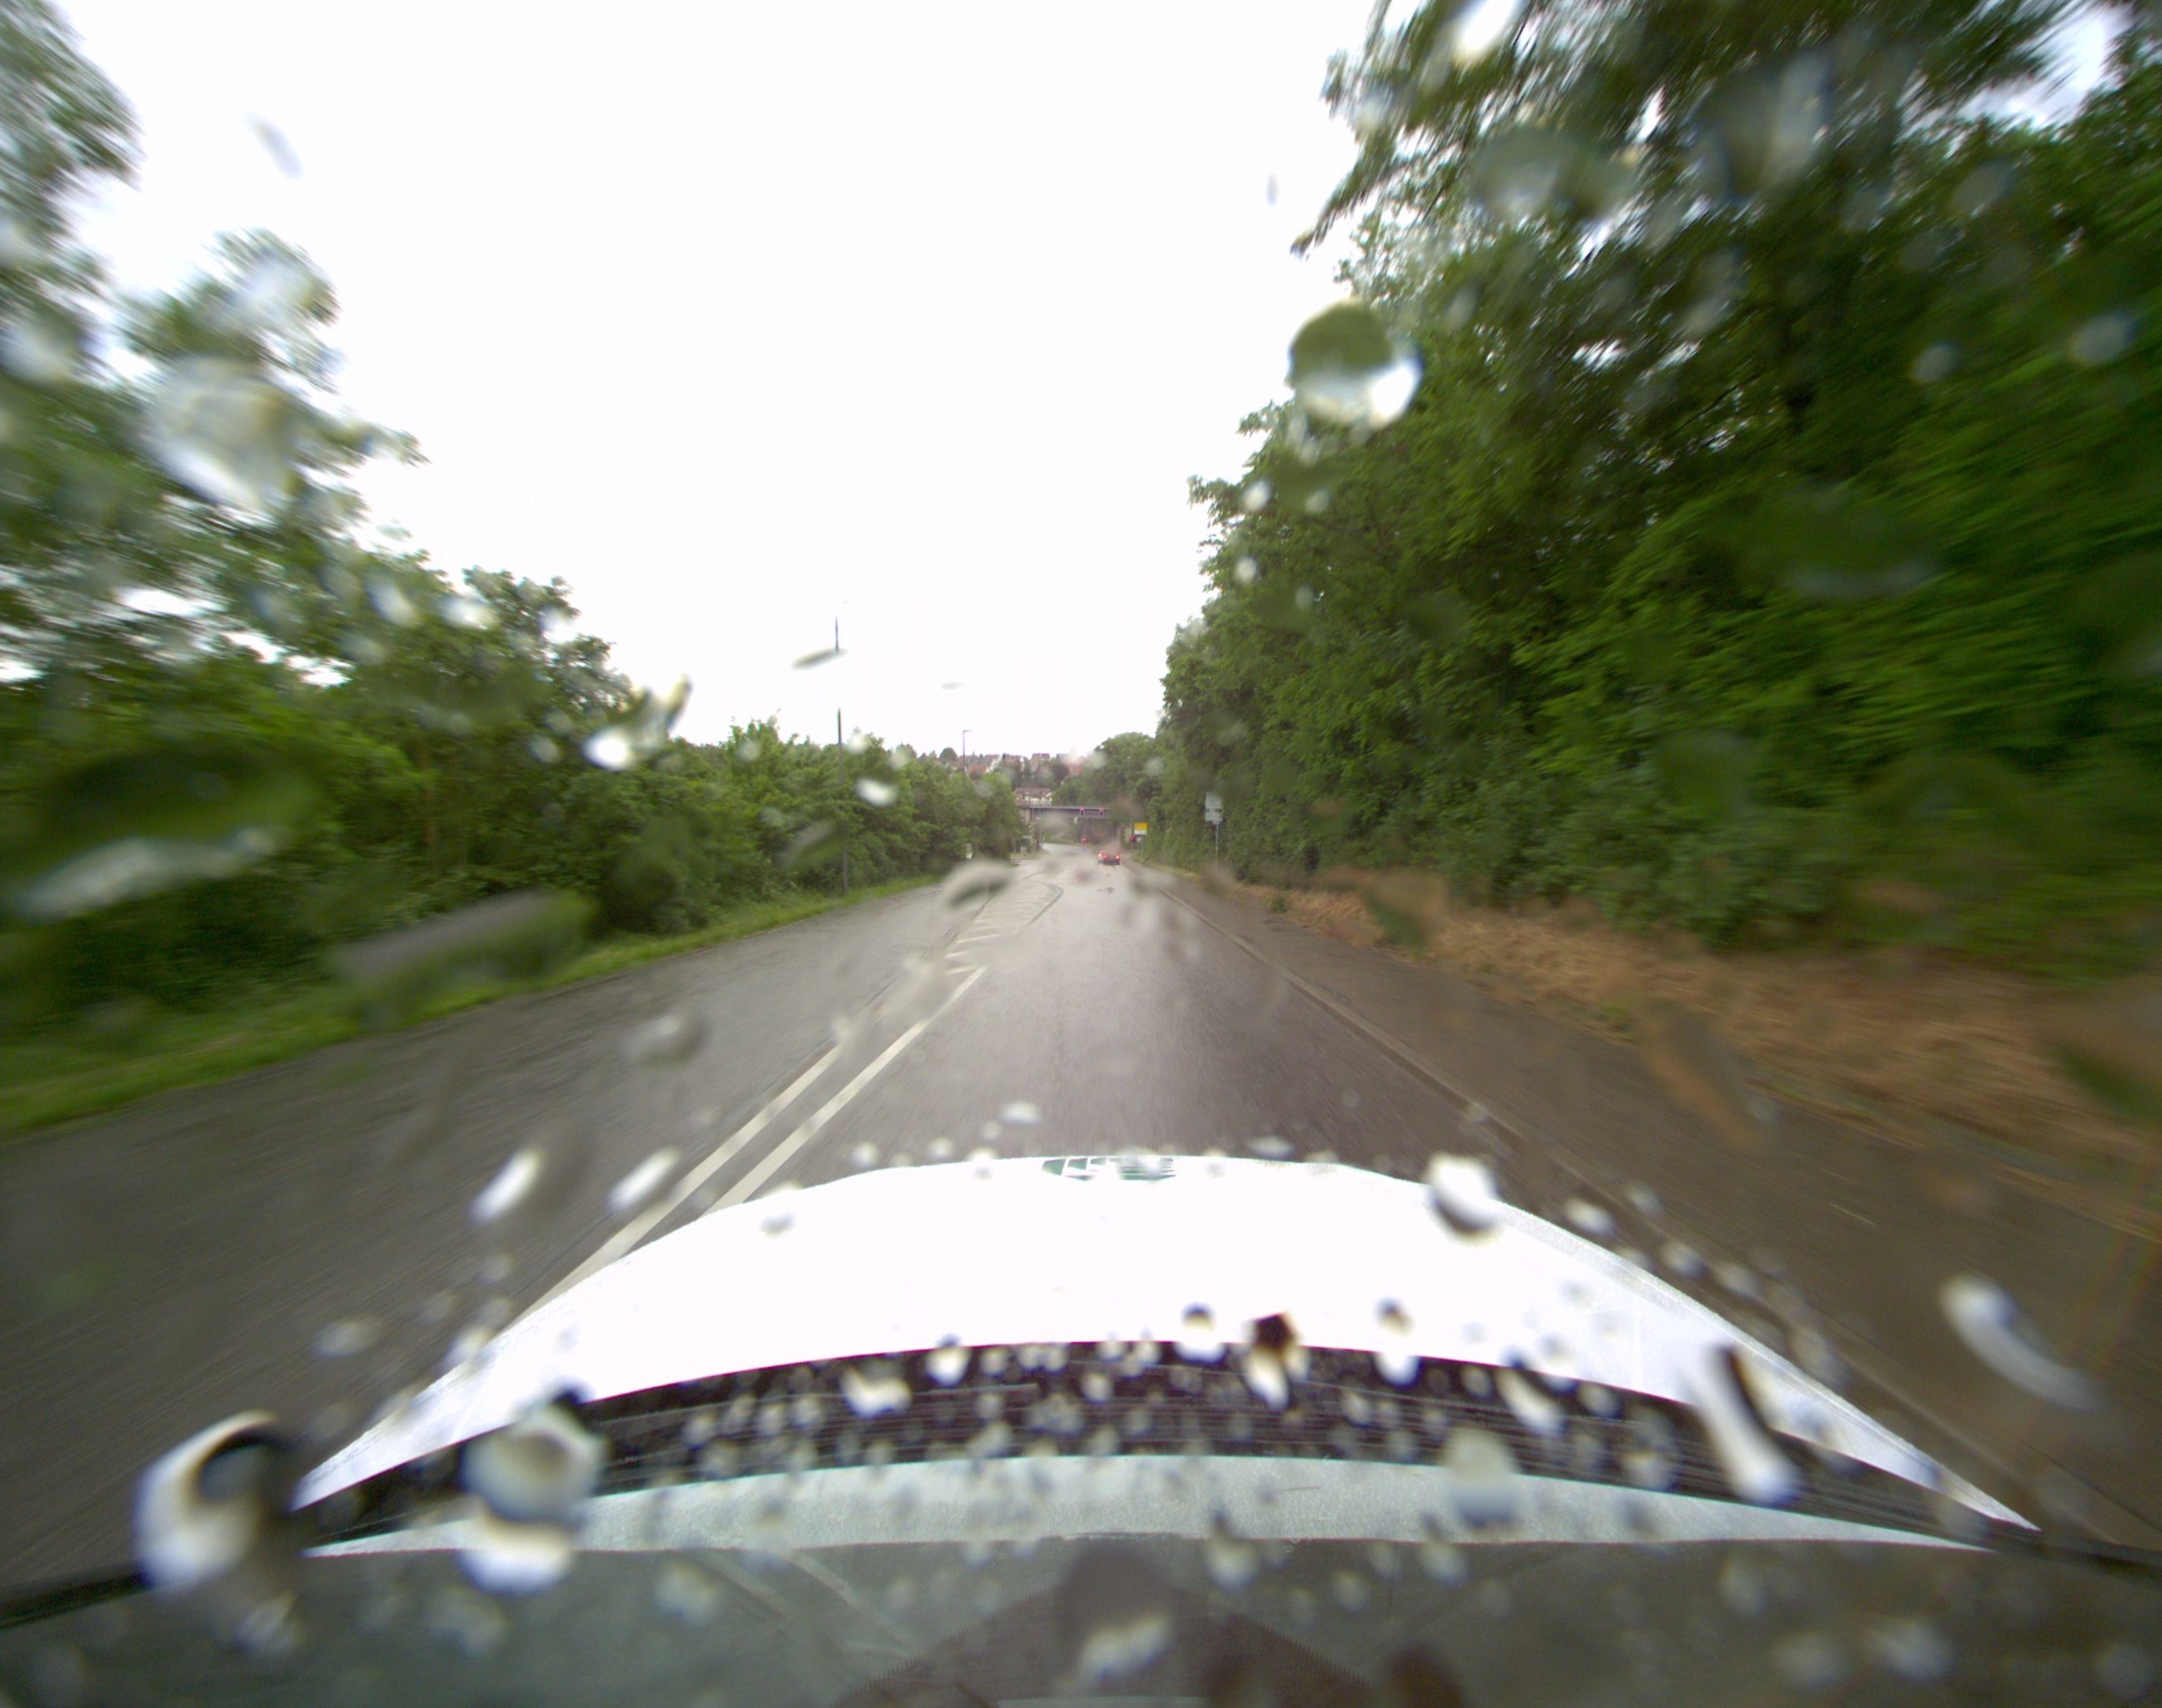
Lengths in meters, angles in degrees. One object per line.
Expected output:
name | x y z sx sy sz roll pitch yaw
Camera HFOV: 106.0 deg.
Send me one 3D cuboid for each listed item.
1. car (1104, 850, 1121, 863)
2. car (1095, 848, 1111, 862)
car | 3.459 0.295 89.626 1.761 1.380 4.002 -1 0 2
car | 2.613 0.125 96.338 1.761 1.563 4.002 -1 0 2
